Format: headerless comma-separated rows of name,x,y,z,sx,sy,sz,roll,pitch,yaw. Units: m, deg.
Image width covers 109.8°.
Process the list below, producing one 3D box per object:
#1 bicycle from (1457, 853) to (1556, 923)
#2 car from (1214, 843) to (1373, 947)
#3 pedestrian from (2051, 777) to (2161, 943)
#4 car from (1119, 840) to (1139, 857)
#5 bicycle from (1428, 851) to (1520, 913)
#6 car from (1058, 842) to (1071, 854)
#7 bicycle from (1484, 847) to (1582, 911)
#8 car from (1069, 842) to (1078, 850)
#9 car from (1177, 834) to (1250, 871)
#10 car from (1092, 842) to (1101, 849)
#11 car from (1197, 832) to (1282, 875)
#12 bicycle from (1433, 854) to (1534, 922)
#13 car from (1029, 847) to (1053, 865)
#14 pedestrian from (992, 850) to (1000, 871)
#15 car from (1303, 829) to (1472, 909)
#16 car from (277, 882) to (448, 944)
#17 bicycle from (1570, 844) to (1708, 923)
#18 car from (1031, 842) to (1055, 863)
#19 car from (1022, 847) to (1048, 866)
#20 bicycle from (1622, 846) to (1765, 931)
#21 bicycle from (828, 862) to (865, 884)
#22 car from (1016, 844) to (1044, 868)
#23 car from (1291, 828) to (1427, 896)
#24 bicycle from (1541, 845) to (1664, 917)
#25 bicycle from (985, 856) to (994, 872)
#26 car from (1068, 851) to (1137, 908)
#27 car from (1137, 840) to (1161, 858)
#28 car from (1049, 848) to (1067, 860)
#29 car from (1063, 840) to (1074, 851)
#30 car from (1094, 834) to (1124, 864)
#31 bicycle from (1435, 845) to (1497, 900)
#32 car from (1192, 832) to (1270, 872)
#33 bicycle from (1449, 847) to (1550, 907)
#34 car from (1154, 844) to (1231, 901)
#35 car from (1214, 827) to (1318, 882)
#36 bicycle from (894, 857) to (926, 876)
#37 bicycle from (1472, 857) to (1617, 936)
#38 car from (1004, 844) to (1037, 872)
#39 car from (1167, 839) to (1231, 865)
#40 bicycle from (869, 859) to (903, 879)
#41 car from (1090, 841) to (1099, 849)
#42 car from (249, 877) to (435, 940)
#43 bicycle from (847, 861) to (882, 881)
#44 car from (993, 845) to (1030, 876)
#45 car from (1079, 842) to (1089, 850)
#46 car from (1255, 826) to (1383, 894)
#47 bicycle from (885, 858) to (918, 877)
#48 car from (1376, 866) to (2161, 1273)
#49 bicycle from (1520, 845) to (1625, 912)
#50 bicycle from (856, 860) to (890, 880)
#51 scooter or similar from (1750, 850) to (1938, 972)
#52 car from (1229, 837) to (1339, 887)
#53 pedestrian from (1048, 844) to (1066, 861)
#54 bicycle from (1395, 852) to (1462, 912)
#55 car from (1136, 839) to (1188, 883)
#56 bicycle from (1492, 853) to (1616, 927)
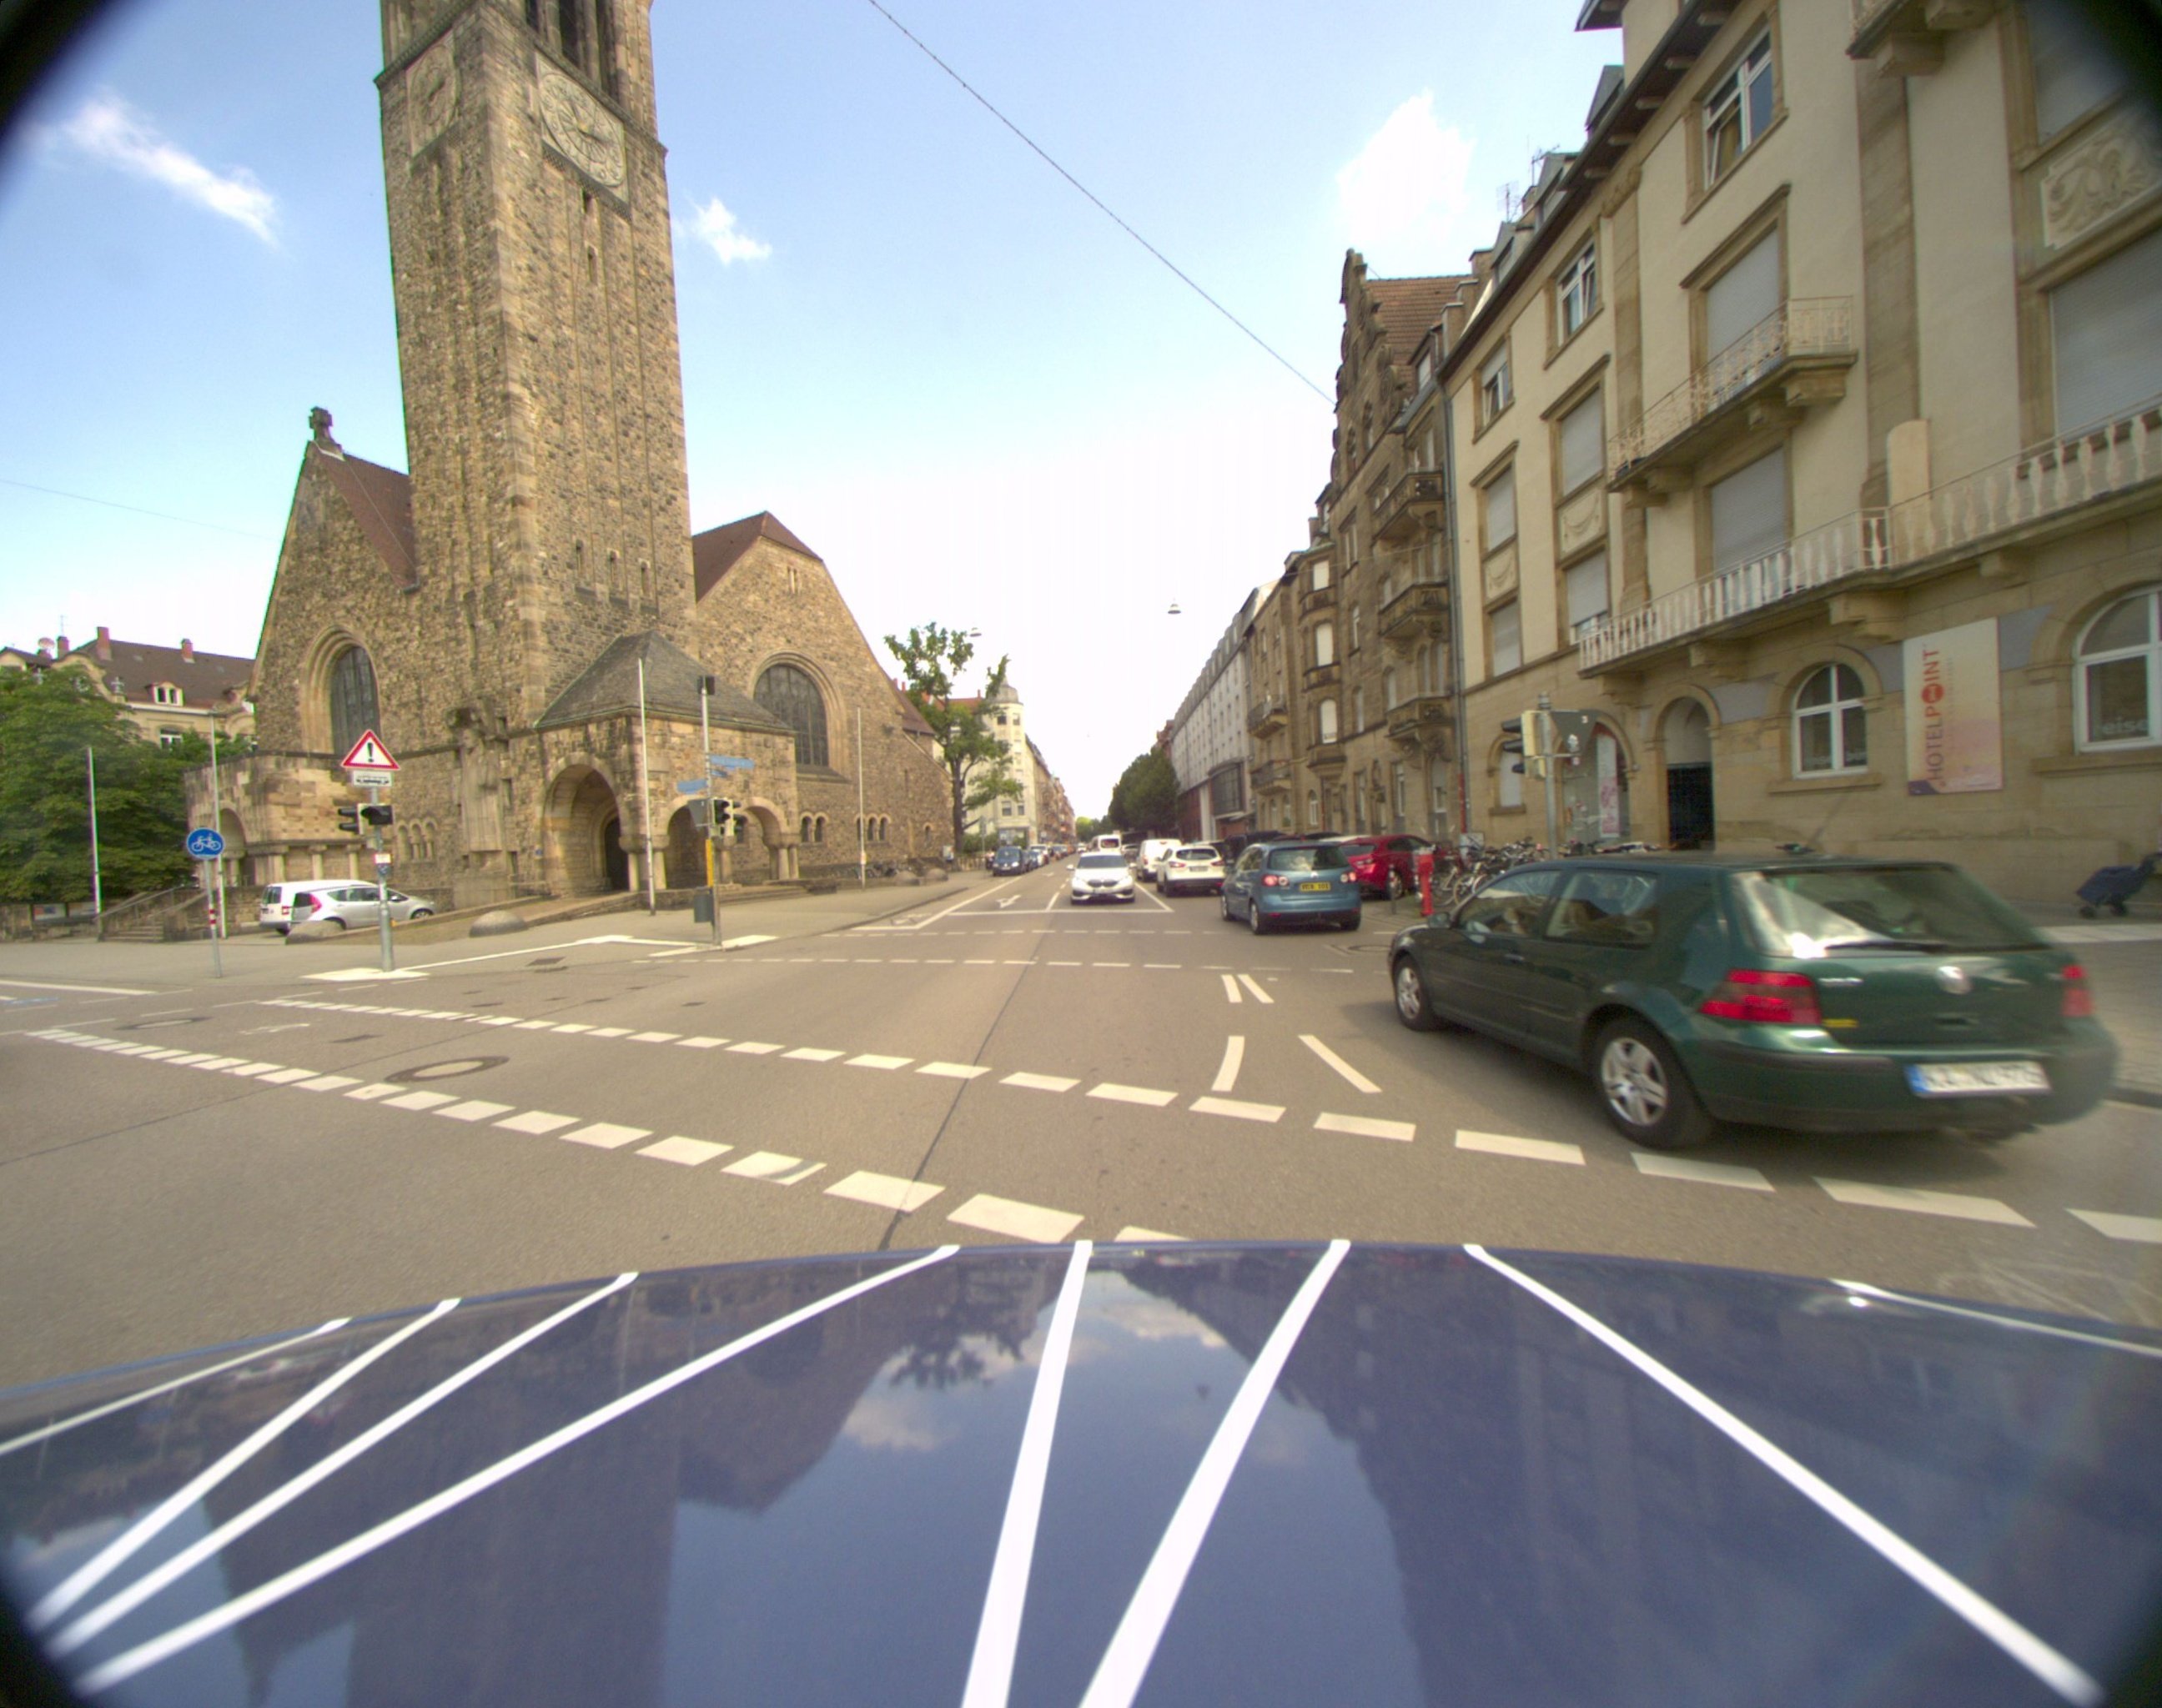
bicycle,7.284,0.575,13.028,1.372,1.046,0.418,-6,1,0
car,3.680,0.614,13.855,1.751,1.531,3.931,-3,1,0
pedestrian,11.106,0.035,7.774,0.943,1.586,0.996,-7,1,2
car,4.975,-0.611,78.819,1.891,1.642,3.890,-3,1,2
bicycle,7.573,0.527,14.666,1.483,1.046,0.462,-5,1,-2
car,-2.597,-0.998,119.819,1.809,1.756,4.186,-3,1,2
bicycle,8.393,0.455,14.131,1.483,1.046,0.462,-5,1,-1
car,-1.673,-1.858,172.793,1.809,1.756,4.186,-3,1,2
car,7.547,-0.097,43.134,3.960,1.576,1.727,-7,1,-38
car,3.435,-1.873,166.528,1.809,1.590,4.186,-3,1,2
car,7.754,-0.042,36.998,3.959,1.576,1.727,-8,2,-38
bicycle,7.162,0.597,13.550,1.483,1.046,0.462,-5,1,2
car,-3.619,0.118,69.281,1.682,1.488,3.890,-3,1,2
pedestrian,-5.906,0.441,52.917,0.466,1.447,0.556,-3,1,-4
car,7.384,0.332,18.181,4.005,1.448,1.808,-6,1,-36
car,-23.769,1.912,25.296,1.815,1.668,3.643,-4,-1,23
bicycle,8.537,0.448,11.674,1.612,1.046,0.481,-5,1,9
car,-3.695,-0.165,73.642,1.844,1.927,4.186,-3,1,2
car,-3.830,0.211,63.991,1.682,1.439,3.798,-3,1,2
bicycle,8.509,0.474,10.603,1.441,1.046,0.481,-5,1,11
bicycle,-12.882,1.034,41.746,1.935,1.106,0.587,0,3,22
car,-3.930,0.124,59.291,1.682,1.781,4.000,-3,1,2
car,7.952,0.195,21.593,3.960,1.448,1.727,-7,1,-40
bicycle,8.688,0.450,12.699,1.580,1.046,0.481,-5,1,9
bicycle,-6.388,0.687,52.895,0.480,1.046,1.442,-3,1,-4
car,0.671,0.688,22.635,1.826,1.440,4.386,-2,1,2
car,6.338,-0.457,71.091,1.891,1.556,3.890,-3,1,2
car,-2.730,-0.025,92.160,1.809,1.360,4.186,-3,1,2
car,-2.430,-1.647,148.368,1.809,1.902,4.186,-3,1,2
car,2.392,-0.425,66.617,2.082,2.430,5.943,-2,0,-3
bicycle,8.690,0.392,17.091,1.908,1.046,0.556,-6,1,-43
car,7.898,-0.113,39.869,3.959,1.576,1.727,-8,2,-38
bicycle,8.390,0.446,15.262,1.631,1.046,0.558,-5,1,0
car,3.423,0.532,23.998,1.775,1.573,4.020,-3,0,0
car,7.588,0.006,31.078,3.959,1.857,1.727,-6,1,-32
bicycle,-10.547,0.784,46.892,1.935,1.106,0.587,0,3,22
bicycle,6.985,0.647,11.534,1.733,1.046,0.531,-5,1,17
car,-4.180,0.274,52.868,1.682,1.781,4.000,-3,1,2
car,7.624,-0.129,48.891,3.961,1.465,1.727,-4,1,-38
bicycle,-11.466,0.886,44.717,1.935,1.106,0.587,0,3,22
car,2.782,-1.856,158.530,1.809,1.590,4.186,-3,1,2
car,-26.499,1.910,27.450,1.995,1.842,4.312,-4,-1,26
bicycle,-12.291,0.967,43.209,1.935,1.106,0.587,0,3,22
car,-4.324,0.350,47.832,1.682,1.781,4.145,-3,1,2
car,0.693,-1.740,171.155,1.809,1.654,4.186,-3,1,2
car,7.598,0.180,24.092,3.960,1.680,1.799,-7,0,-38
bicycle,-10.902,0.821,46.170,1.935,1.106,0.587,0,3,22
car,3.478,0.825,4.723,1.718,1.425,3.818,-2,0,-1
bicycle,8.687,0.428,13.457,1.483,1.046,0.462,-5,1,2
bicycle,-12.000,0.935,43.864,1.935,1.106,0.587,0,3,22
scooter or similar,7.874,0.590,7.894,1.251,1.139,0.481,-5,2,19
car,7.593,0.279,28.290,3.960,1.421,1.727,-6,0,-36
pedestrian,-2.641,-0.201,83.833,1.316,1.748,1.370,-4,2,-40
bicycle,7.136,0.560,15.581,1.815,1.046,0.556,-6,1,-44
car,3.467,0.294,33.375,1.816,1.765,4.283,-2,0,1
bicycle,7.625,0.576,12.294,1.580,1.046,0.481,-5,1,9
